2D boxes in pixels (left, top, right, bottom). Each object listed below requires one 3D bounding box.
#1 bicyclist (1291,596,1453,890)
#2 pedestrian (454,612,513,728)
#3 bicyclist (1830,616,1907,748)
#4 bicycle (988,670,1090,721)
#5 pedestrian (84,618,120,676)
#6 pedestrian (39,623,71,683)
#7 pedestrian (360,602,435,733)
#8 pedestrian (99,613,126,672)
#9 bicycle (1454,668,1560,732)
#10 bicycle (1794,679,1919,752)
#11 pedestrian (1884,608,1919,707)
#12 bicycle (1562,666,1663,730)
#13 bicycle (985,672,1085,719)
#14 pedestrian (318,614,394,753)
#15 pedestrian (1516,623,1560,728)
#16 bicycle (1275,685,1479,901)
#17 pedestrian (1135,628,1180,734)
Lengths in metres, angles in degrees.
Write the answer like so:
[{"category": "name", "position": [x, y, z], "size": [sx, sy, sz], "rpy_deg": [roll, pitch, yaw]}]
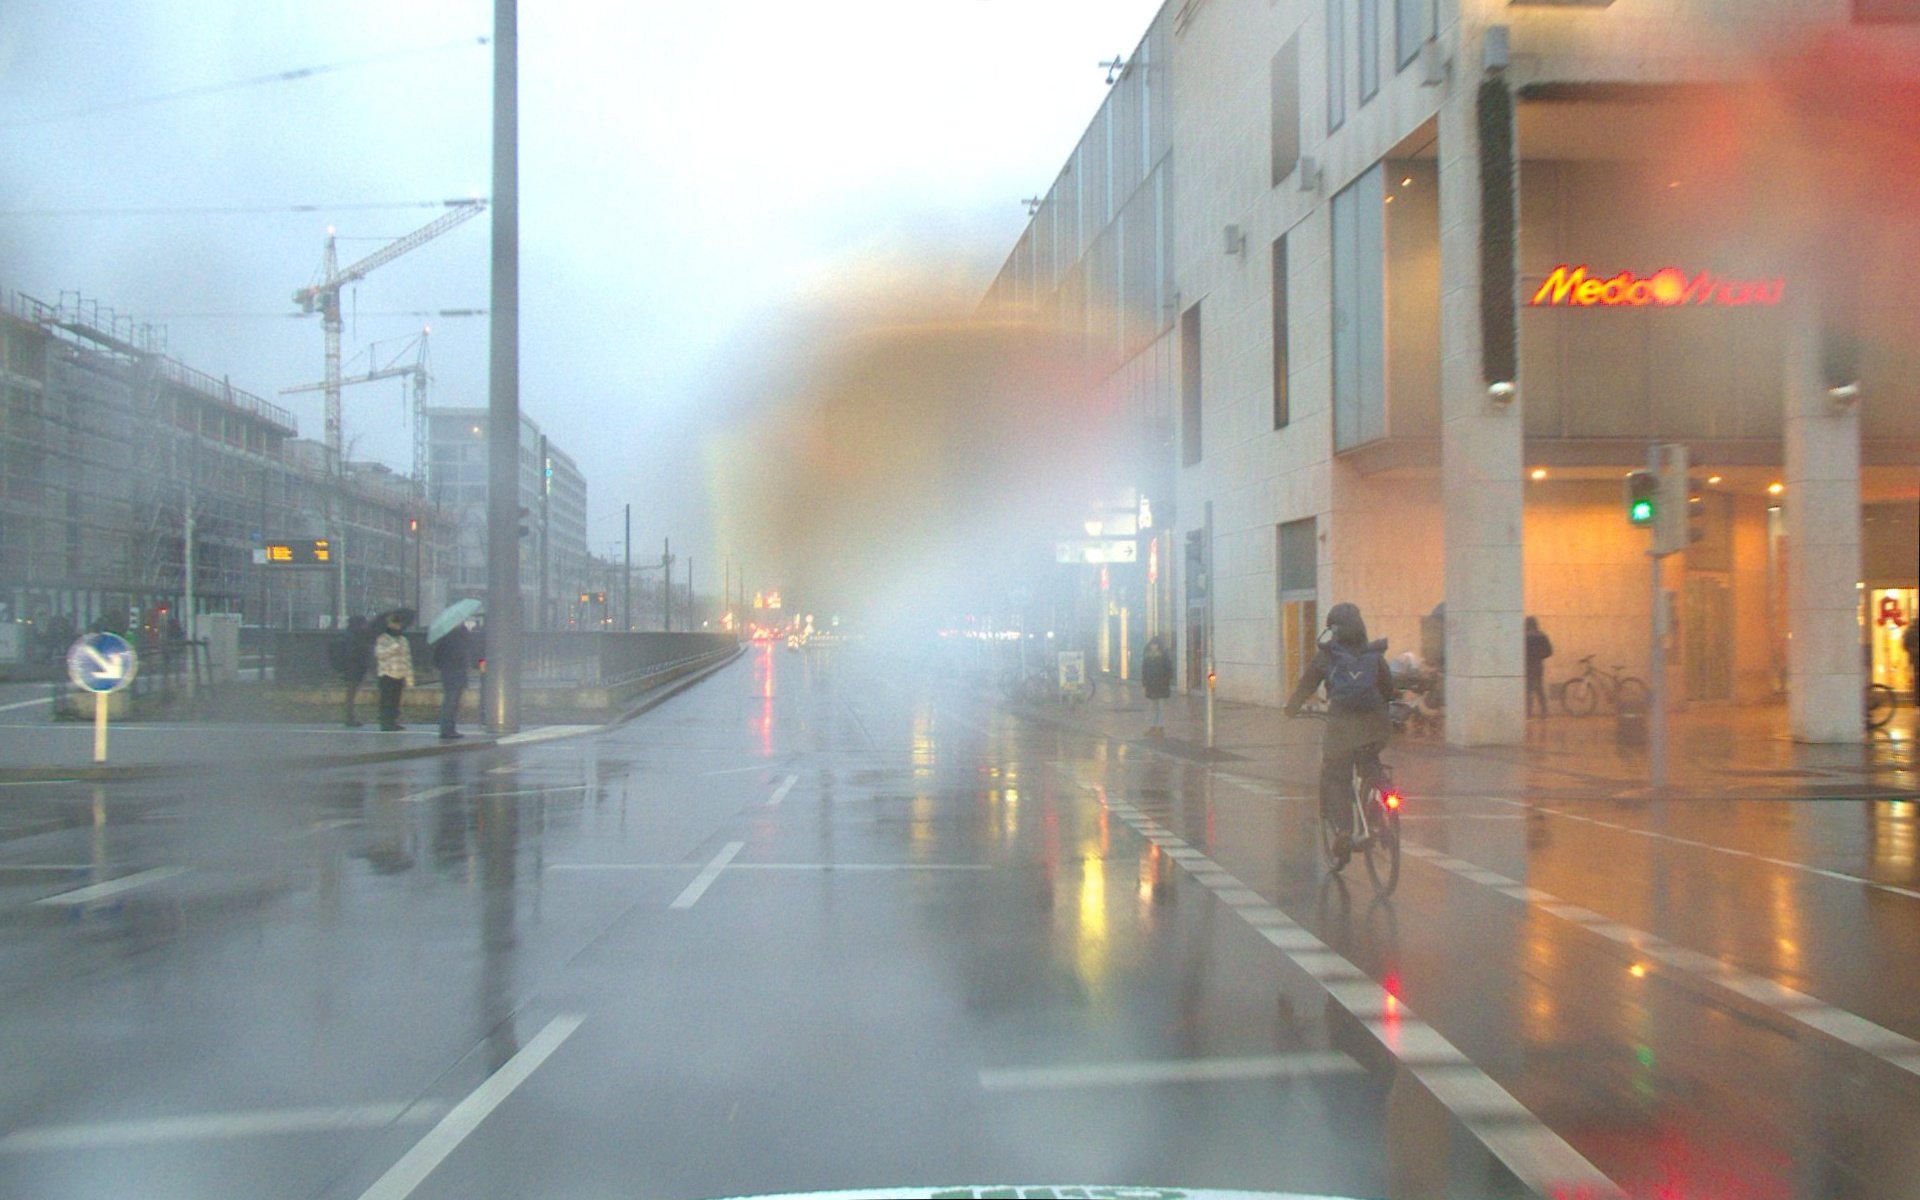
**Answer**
[{"category": "bicyclist", "position": [2.475, 0.830, 10.025], "size": [0.689, 1.689, 0.963], "rpy_deg": [0, -1, -3]}, {"category": "pedestrian", "position": [-7.197, 1.053, 24.985], "size": [0.601, 1.715, 0.575], "rpy_deg": [0, -2, 39]}, {"category": "bicyclist", "position": [14.441, 1.284, 26.316], "size": [0.903, 2.049, 0.907], "rpy_deg": [-1, -1, 20]}, {"category": "bicycle", "position": [1.897, 2.301, 39.791], "size": [2.395, 1.174, 0.673], "rpy_deg": [0, -2, -5]}, {"category": "pedestrian", "position": [-28.977, 1.581, 55.859], "size": [0.750, 1.931, 0.762], "rpy_deg": [1, -3, -4]}, {"category": "pedestrian", "position": [-29.250, 1.701, 53.460], "size": [0.685, 1.914, 0.553], "rpy_deg": [1, -2, -4]}, {"category": "pedestrian", "position": [-8.187, 0.972, 24.069], "size": [0.814, 1.864, 0.776], "rpy_deg": [2, -2, -34]}, {"category": "pedestrian", "position": [-29.238, 1.476, 57.057], "size": [0.559, 2.003, 0.664], "rpy_deg": [3, -2, -9]}, {"category": "bicycle", "position": [9.677, 1.768, 29.263], "size": [1.736, 1.089, 0.523], "rpy_deg": [2, -2, -12]}, {"category": "bicycle", "position": [14.416, 1.821, 26.307], "size": [1.919, 1.105, 0.927], "rpy_deg": [-1, -1, 18]}, {"category": "pedestrian", "position": [17.014, 1.033, 29.606], "size": [0.720, 1.748, 0.738], "rpy_deg": [-1, -2, 24]}, {"category": "bicycle", "position": [11.576, 1.743, 29.369], "size": [1.615, 1.089, 0.524], "rpy_deg": [1, -2, -7]}, {"category": "bicycle", "position": [1.840, 2.334, 40.569], "size": [2.378, 1.118, 0.711], "rpy_deg": [0, -2, -5]}, {"category": "pedestrian", "position": [-9.113, 1.252, 24.959], "size": [0.771, 2.049, 0.724], "rpy_deg": [0, -2, 39]}, {"category": "pedestrian", "position": [9.931, 1.285, 28.411], "size": [0.587, 1.775, 0.525], "rpy_deg": [1, -2, 5]}, {"category": "bicycle", "position": [2.480, 1.115, 10.044], "size": [0.694, 1.113, 1.782], "rpy_deg": [0, -1, -3]}, {"category": "pedestrian", "position": [3.259, 1.333, 27.373], "size": [0.624, 1.739, 0.573], "rpy_deg": [0, -2, -4]}]
